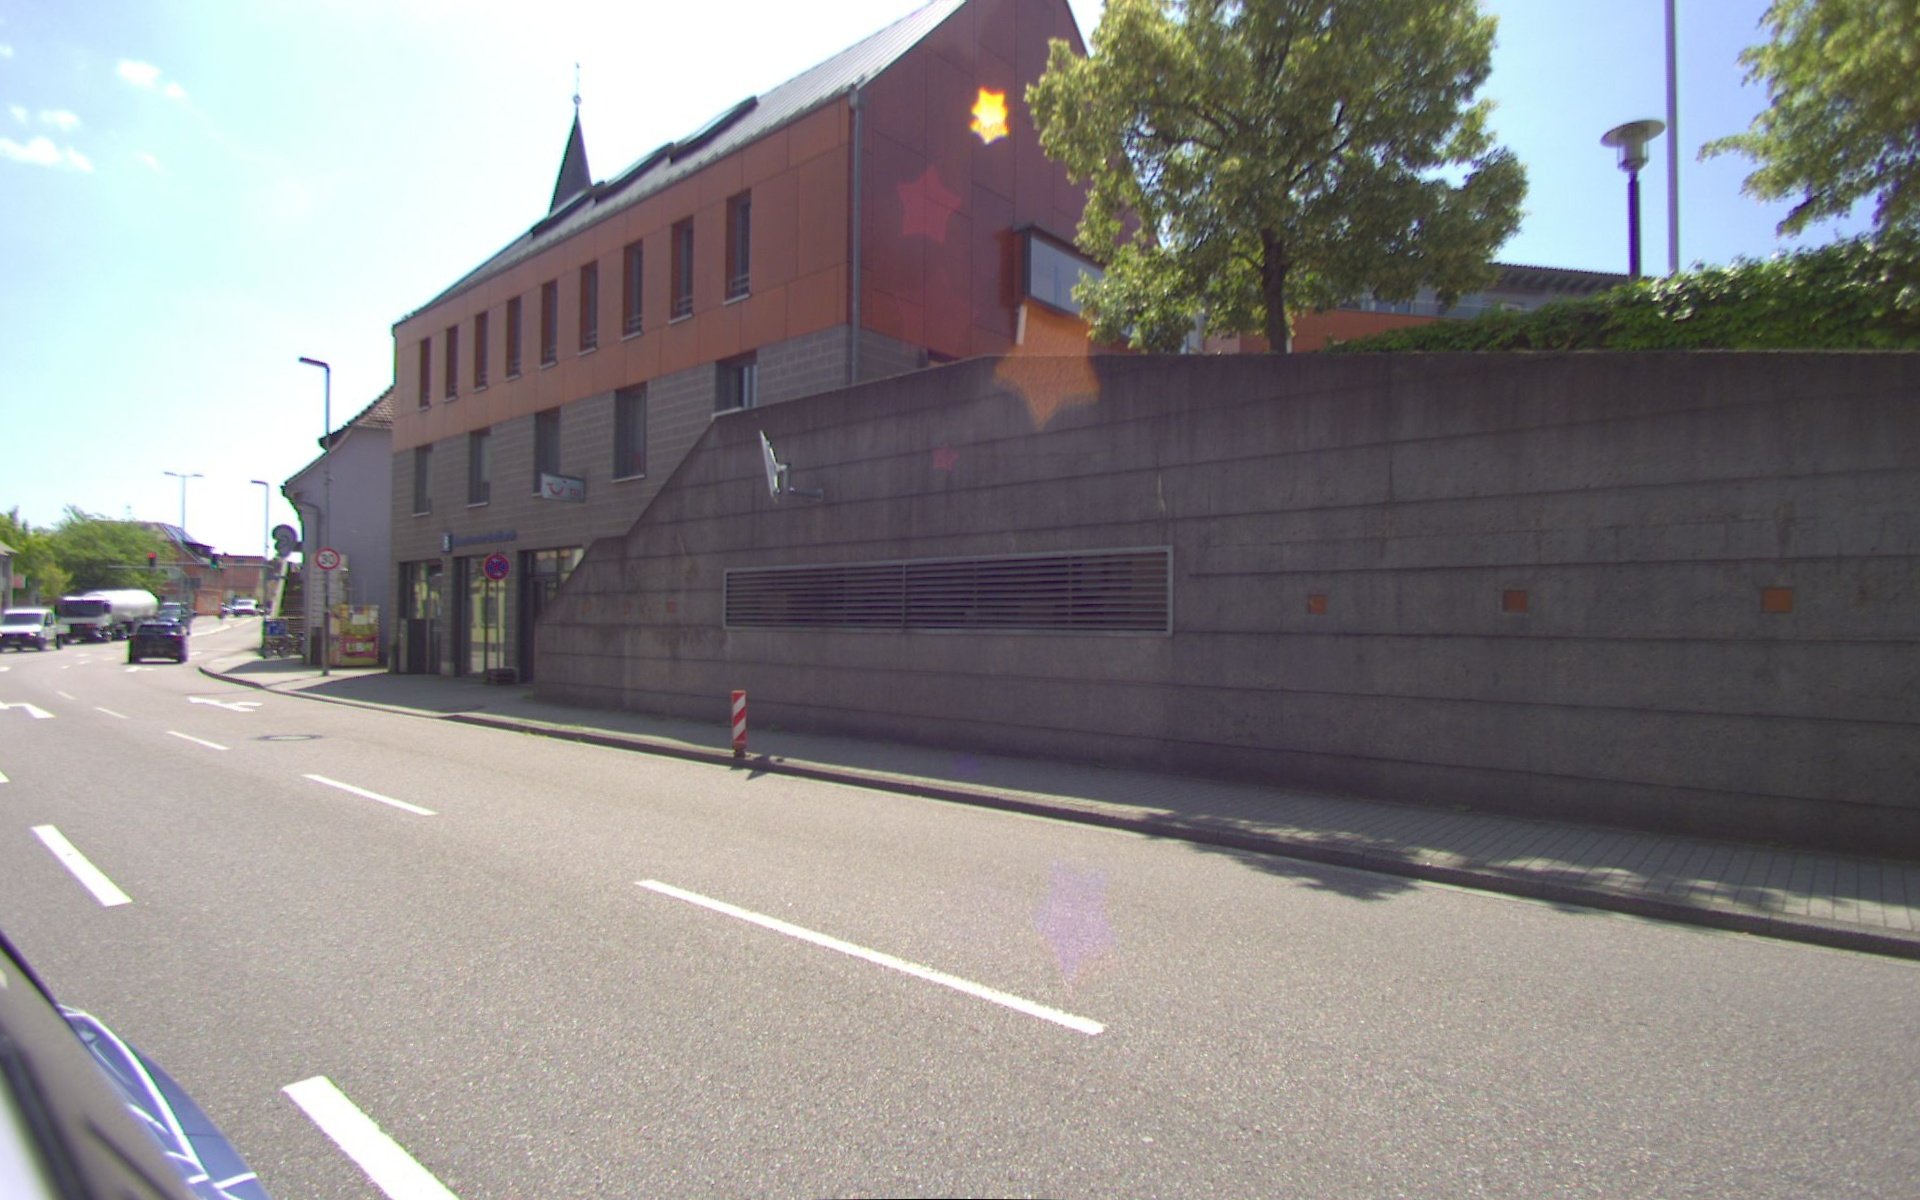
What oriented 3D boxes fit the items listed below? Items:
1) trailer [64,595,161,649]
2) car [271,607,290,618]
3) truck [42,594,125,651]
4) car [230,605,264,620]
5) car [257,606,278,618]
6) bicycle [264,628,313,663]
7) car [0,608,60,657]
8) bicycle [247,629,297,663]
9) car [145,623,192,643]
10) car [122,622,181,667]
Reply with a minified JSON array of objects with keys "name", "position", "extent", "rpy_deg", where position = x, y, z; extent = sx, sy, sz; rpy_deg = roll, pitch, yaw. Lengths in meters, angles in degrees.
[{"name":"trailer","position":[-61.287,1.593,73.506],"extent":[2.790,3.597,11.001],"rpy_deg":[1,-1,-26]},{"name":"car","position":[-101.540,1.890,151.227],"extent":[1.978,1.643,4.591],"rpy_deg":[1,-2,-30]},{"name":"truck","position":[-58.343,1.500,67.513],"extent":[2.801,3.597,5.486],"rpy_deg":[1,-2,-26]},{"name":"car","position":[-79.544,1.402,112.987],"extent":[1.978,1.643,4.592],"rpy_deg":[0,-1,-20]},{"name":"car","position":[-93.144,1.653,136.144],"extent":[1.979,1.643,4.591],"rpy_deg":[1,-2,-31]},{"name":"bicycle","position":[-27.115,1.821,40.875],"extent":[0.571,1.258,1.828],"rpy_deg":[-3,0,6]},{"name":"car","position":[-51.558,1.793,55.682],"extent":[2.139,2.583,4.838],"rpy_deg":[1,-2,-31]},{"name":"bicycle","position":[-27.760,1.830,40.882],"extent":[0.571,1.258,1.828],"rpy_deg":[-3,0,6]},{"name":"car","position":[-66.806,2.759,85.454],"extent":[1.978,1.643,4.593],"rpy_deg":[0,-1,-23]},{"name":"car","position":[-31.707,1.705,39.771],"extent":[1.648,1.670,4.026],"rpy_deg":[1,-2,-37]}]
